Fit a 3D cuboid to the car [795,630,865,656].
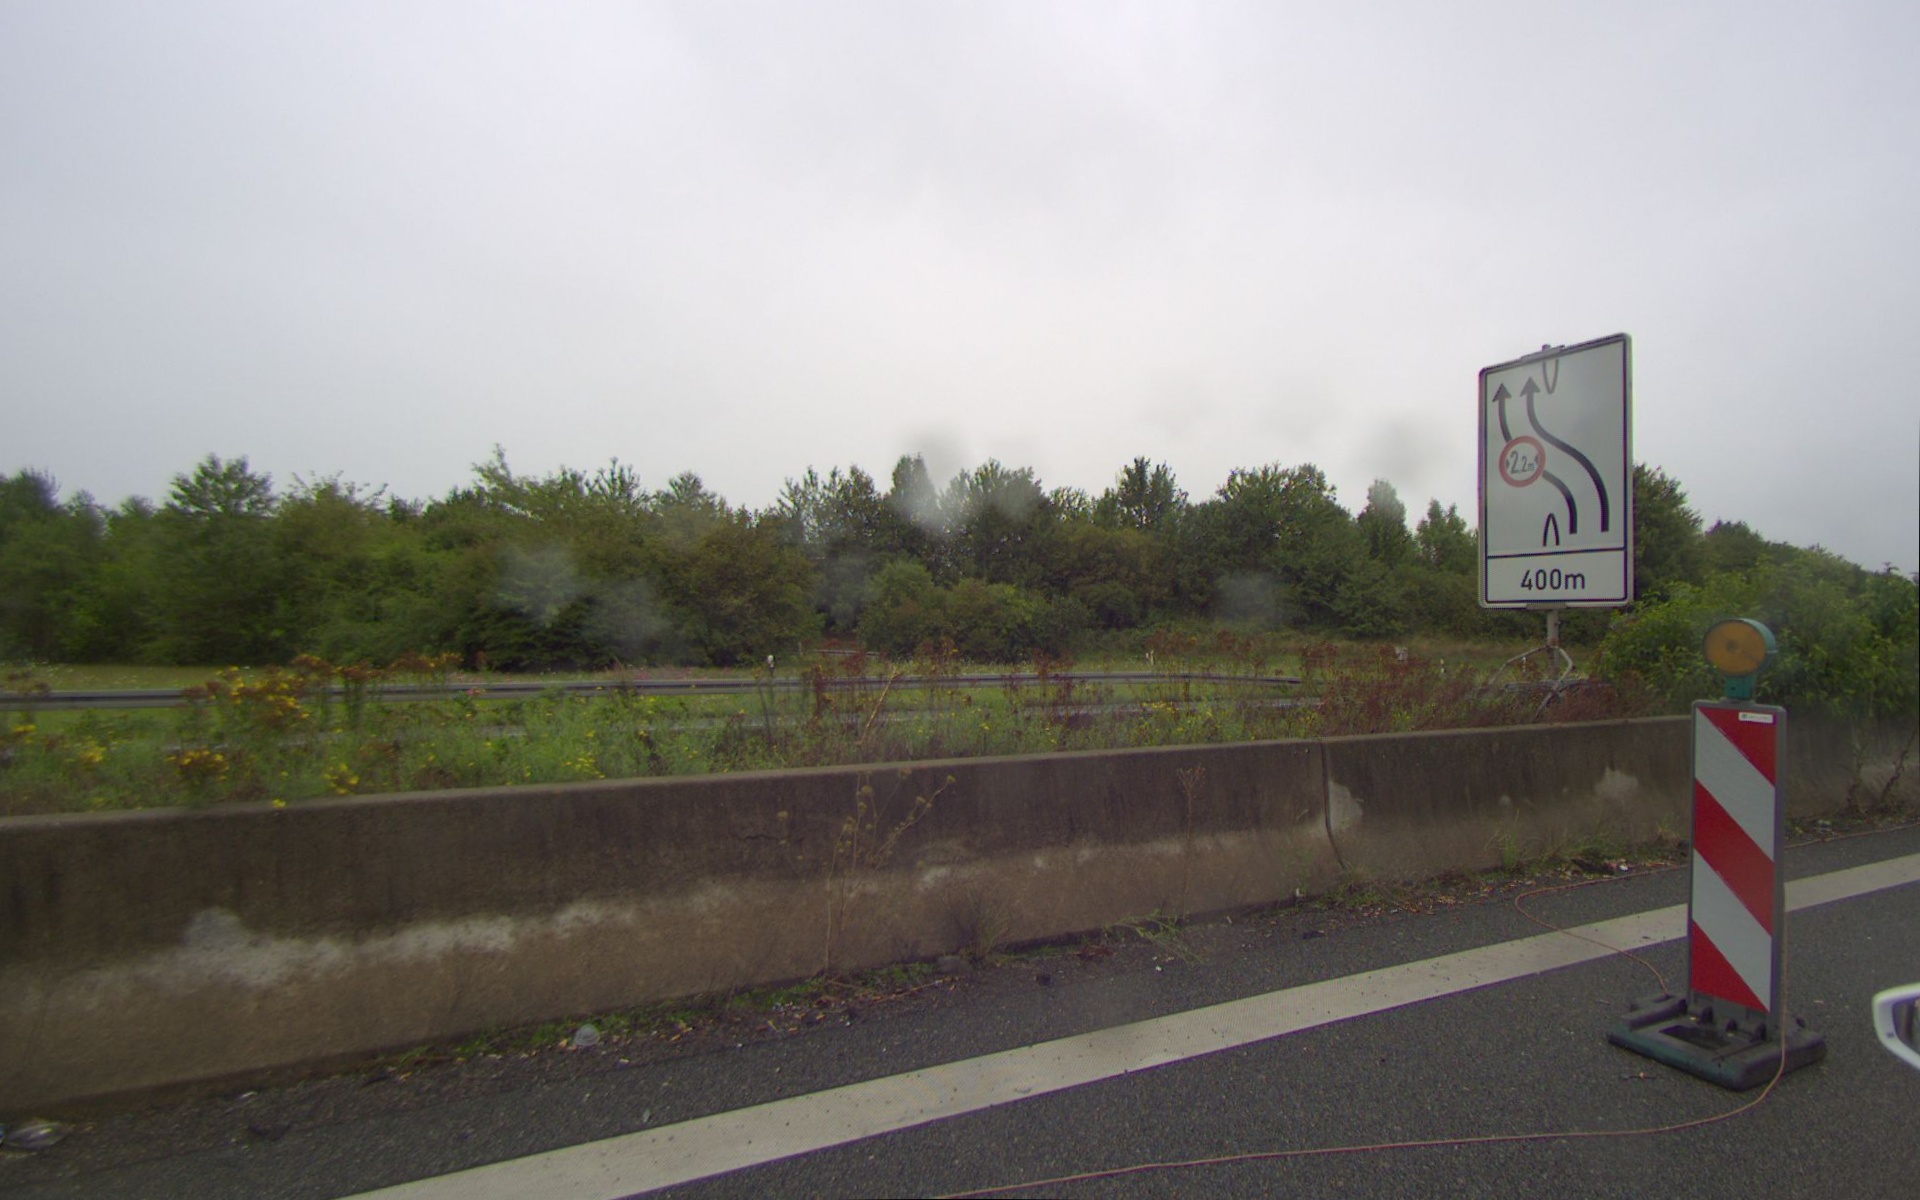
[{"bbox_3d":[-7.783,2.579,60.287,3.835,1.550,1.705,0,-1,13],"label":"car"}]
